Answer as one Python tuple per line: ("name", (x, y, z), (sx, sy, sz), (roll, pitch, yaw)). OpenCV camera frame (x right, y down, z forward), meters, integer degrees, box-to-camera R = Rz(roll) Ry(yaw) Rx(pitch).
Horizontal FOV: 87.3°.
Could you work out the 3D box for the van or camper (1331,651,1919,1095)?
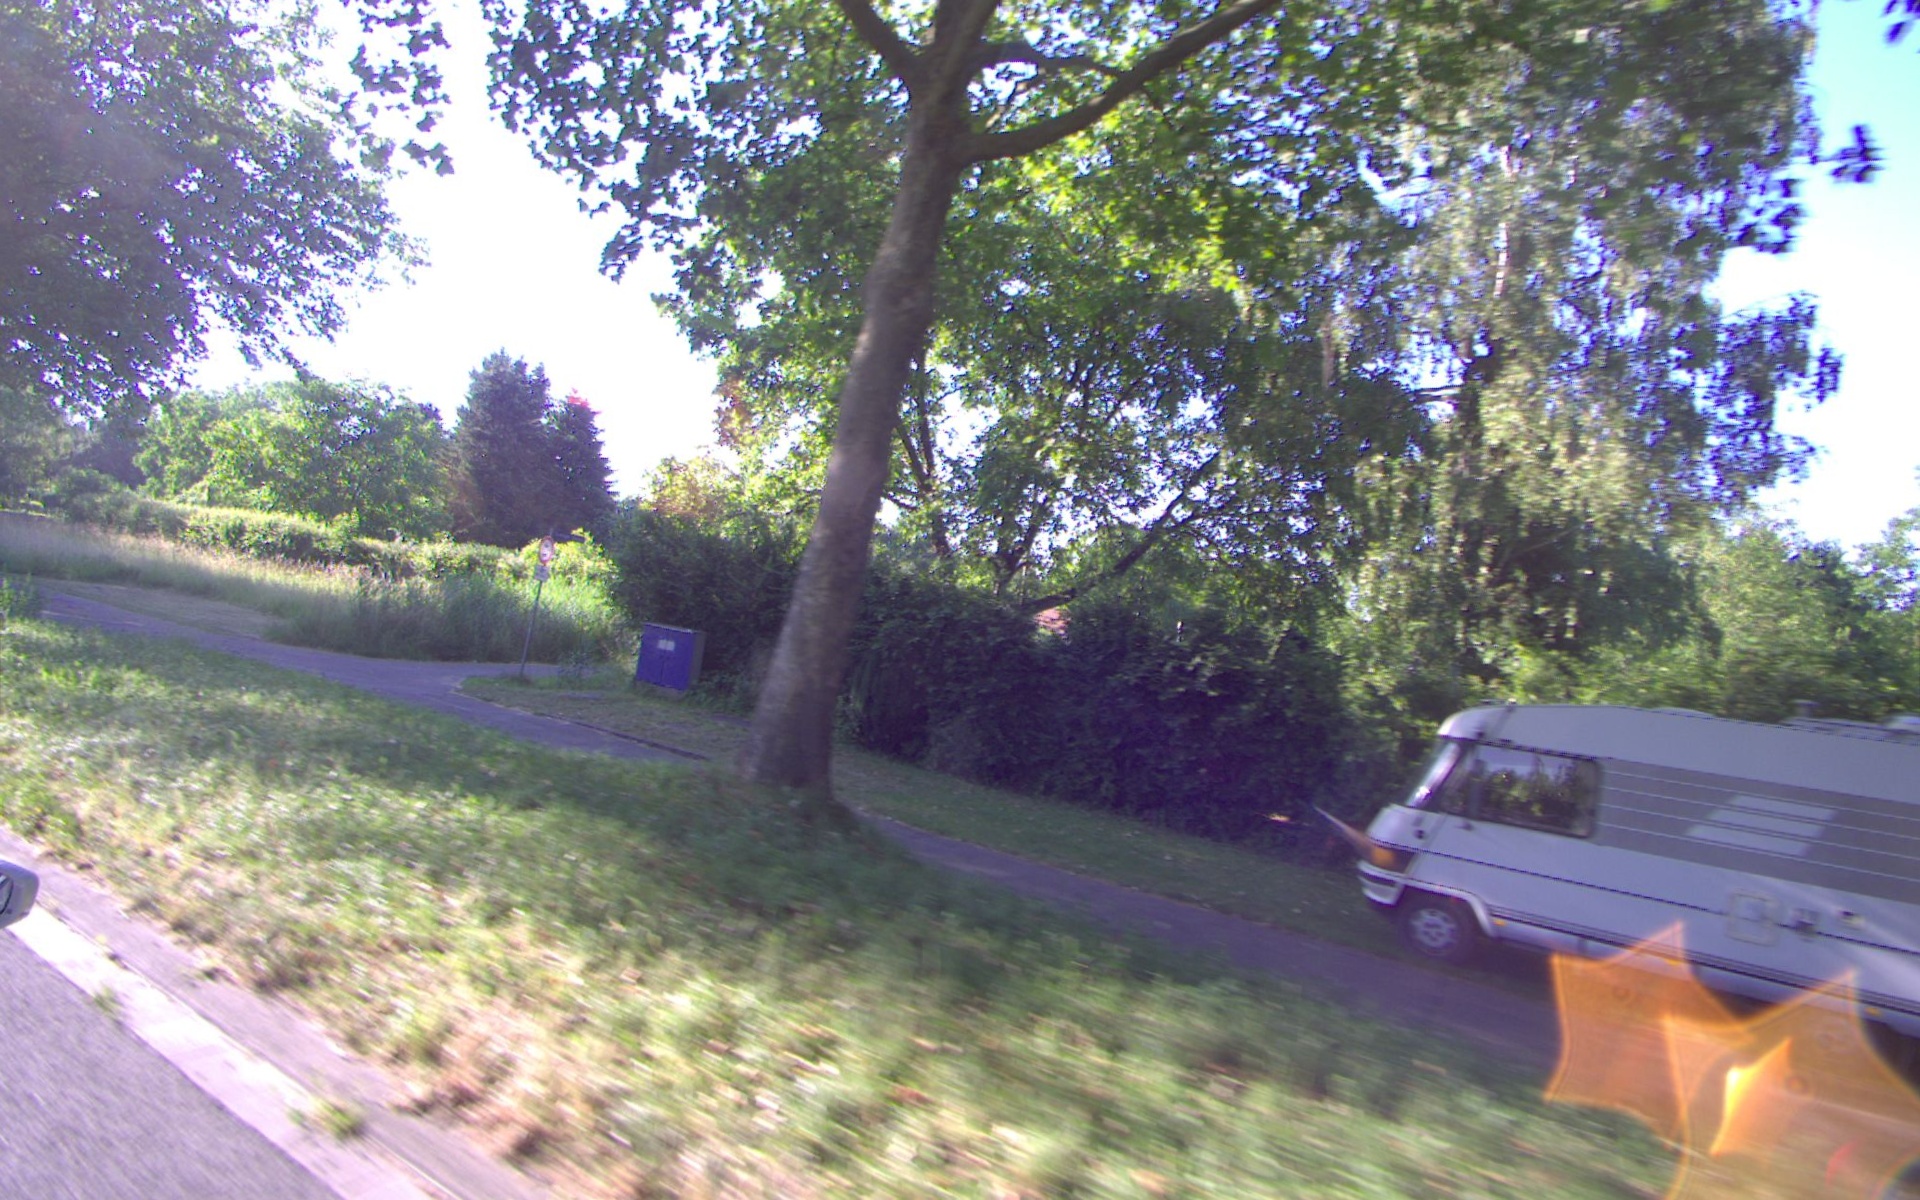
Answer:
("van or camper", (6.722, 2.272, 9.288), (5.591, 2.832, 2.385), (6, -2, 32))
